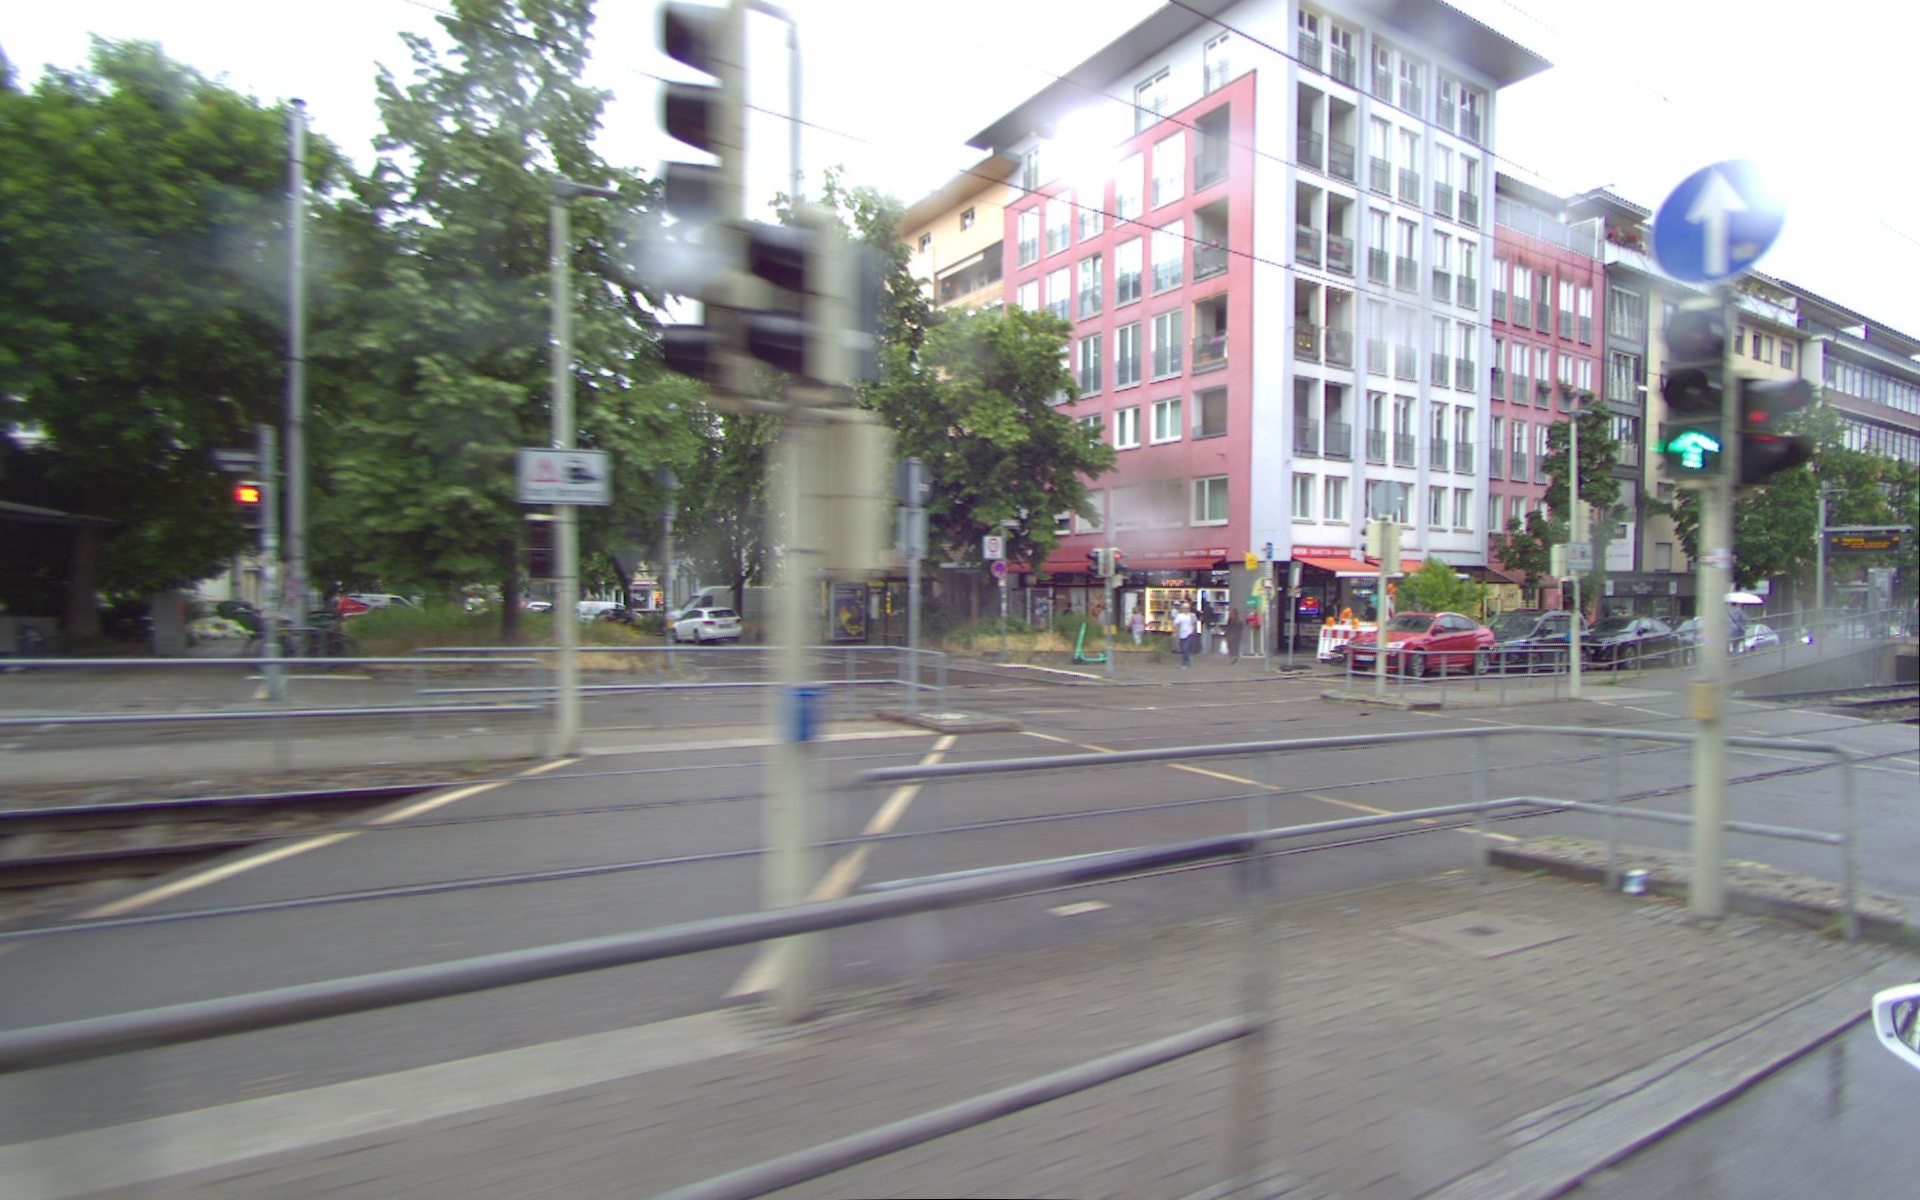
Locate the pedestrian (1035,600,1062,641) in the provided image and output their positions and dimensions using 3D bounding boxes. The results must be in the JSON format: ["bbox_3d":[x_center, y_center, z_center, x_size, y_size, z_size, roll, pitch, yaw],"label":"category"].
[{"bbox_3d":[3.159,0.727,35.900,0.652,1.402,0.686,2,1,-35],"label":"pedestrian"}]

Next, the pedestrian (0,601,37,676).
[{"bbox_3d":[-15.650,0.621,16.445,0.600,1.193,0.673,1,-1,-28],"label":"pedestrian"}]

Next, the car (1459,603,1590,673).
[{"bbox_3d":[16.515,1.079,29.295,4.279,1.883,1.695,1,-1,-36],"label":"car"}]

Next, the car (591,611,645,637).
[{"bbox_3d":[-19.732,1.346,57.776,2.075,1.392,4.411,2,-1,-31],"label":"car"}]

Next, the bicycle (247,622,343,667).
[{"bbox_3d":[-13.898,0.934,21.040,1.627,0.923,0.337,2,-1,-31],"label":"bicycle"}]

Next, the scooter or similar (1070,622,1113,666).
[{"bbox_3d":[3.716,1.247,28.361,1.198,1.207,0.387,2,-1,-32],"label":"scooter or similar"}]

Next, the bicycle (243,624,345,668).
[{"bbox_3d":[-12.955,0.891,19.585,1.629,0.827,0.337,2,-1,-34],"label":"bicycle"}]

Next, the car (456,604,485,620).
[{"bbox_3d":[-44.649,1.124,91.583,1.977,1.392,3.967,2,-1,-31],"label":"car"}]

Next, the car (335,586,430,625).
[{"bbox_3d":[-34.943,0.360,60.783,4.815,2.239,1.890,2,-1,-35],"label":"car"}]

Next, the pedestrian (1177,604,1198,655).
[{"bbox_3d":[7.527,0.956,33.256,0.535,1.653,0.574,3,1,21],"label":"pedestrian"}]

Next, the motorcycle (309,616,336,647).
[{"bbox_3d":[-21.376,1.045,33.666,0.739,1.021,1.839,2,-1,-33],"label":"motorcycle"}]

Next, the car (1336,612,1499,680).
[{"bbox_3d":[12.022,1.147,26.325,4.502,1.633,1.716,1,0,-32],"label":"car"}]

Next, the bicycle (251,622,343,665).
[{"bbox_3d":[-14.387,0.952,21.837,1.627,0.915,0.337,2,-1,-31],"label":"bicycle"}]

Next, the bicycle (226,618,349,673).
[{"bbox_3d":[-12.432,0.841,18.618,1.853,0.972,0.477,2,-1,-34],"label":"bicycle"}]

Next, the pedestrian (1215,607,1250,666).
[{"bbox_3d":[7.753,1.031,28.650,0.791,1.653,0.882,0,1,2],"label":"pedestrian"}]

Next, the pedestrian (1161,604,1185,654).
[{"bbox_3d":[7.187,0.971,33.856,0.570,1.653,0.610,3,1,31],"label":"pedestrian"}]

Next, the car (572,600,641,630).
[{"bbox_3d":[-25.714,1.109,73.029,4.398,2.056,2.080,2,-1,-32],"label":"car"}]

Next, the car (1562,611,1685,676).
[{"bbox_3d":[20.792,1.316,31.413,4.338,1.883,1.790,1,-1,-36],"label":"car"}]

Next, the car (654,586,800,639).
[{"bbox_3d":[-12.147,0.698,52.645,7.019,2.567,2.402,2,-1,-32],"label":"car"}]

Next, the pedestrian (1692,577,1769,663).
[{"bbox_3d":[18.912,0.492,24.646,1.369,2.040,1.109,2,-1,-33],"label":"pedestrian"}]

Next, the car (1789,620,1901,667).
[{"bbox_3d":[32.420,1.557,36.745,4.966,1.599,1.796,1,-1,-33],"label":"car"}]

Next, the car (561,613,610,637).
[{"bbox_3d":[-23.349,1.535,62.487,2.075,1.392,4.411,2,-1,-31],"label":"car"}]

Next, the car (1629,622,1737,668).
[{"bbox_3d":[25.063,1.519,34.779,4.278,1.455,1.828,1,-1,-37],"label":"car"}]

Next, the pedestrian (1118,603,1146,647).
[{"bbox_3d":[5.864,0.847,34.208,0.650,1.481,0.635,2,1,-35],"label":"pedestrian"}]

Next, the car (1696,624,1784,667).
[{"bbox_3d":[28.893,1.663,37.178,3.941,1.455,1.557,1,-1,-37],"label":"car"}]

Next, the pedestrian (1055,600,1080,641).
[{"bbox_3d":[3.904,0.741,36.471,0.644,1.424,0.556,2,1,-35],"label":"pedestrian"}]

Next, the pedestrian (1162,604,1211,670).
[{"bbox_3d":[6.120,0.991,27.178,0.978,1.720,0.812,2,1,-41],"label":"pedestrian"}]

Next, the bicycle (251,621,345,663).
[{"bbox_3d":[-14.087,0.900,21.420,1.627,0.854,0.335,2,-1,-31],"label":"bicycle"}]

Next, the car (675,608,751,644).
[{"bbox_3d":[-10.304,1.077,41.702,1.977,1.392,3.967,2,-1,-31],"label":"car"}]
